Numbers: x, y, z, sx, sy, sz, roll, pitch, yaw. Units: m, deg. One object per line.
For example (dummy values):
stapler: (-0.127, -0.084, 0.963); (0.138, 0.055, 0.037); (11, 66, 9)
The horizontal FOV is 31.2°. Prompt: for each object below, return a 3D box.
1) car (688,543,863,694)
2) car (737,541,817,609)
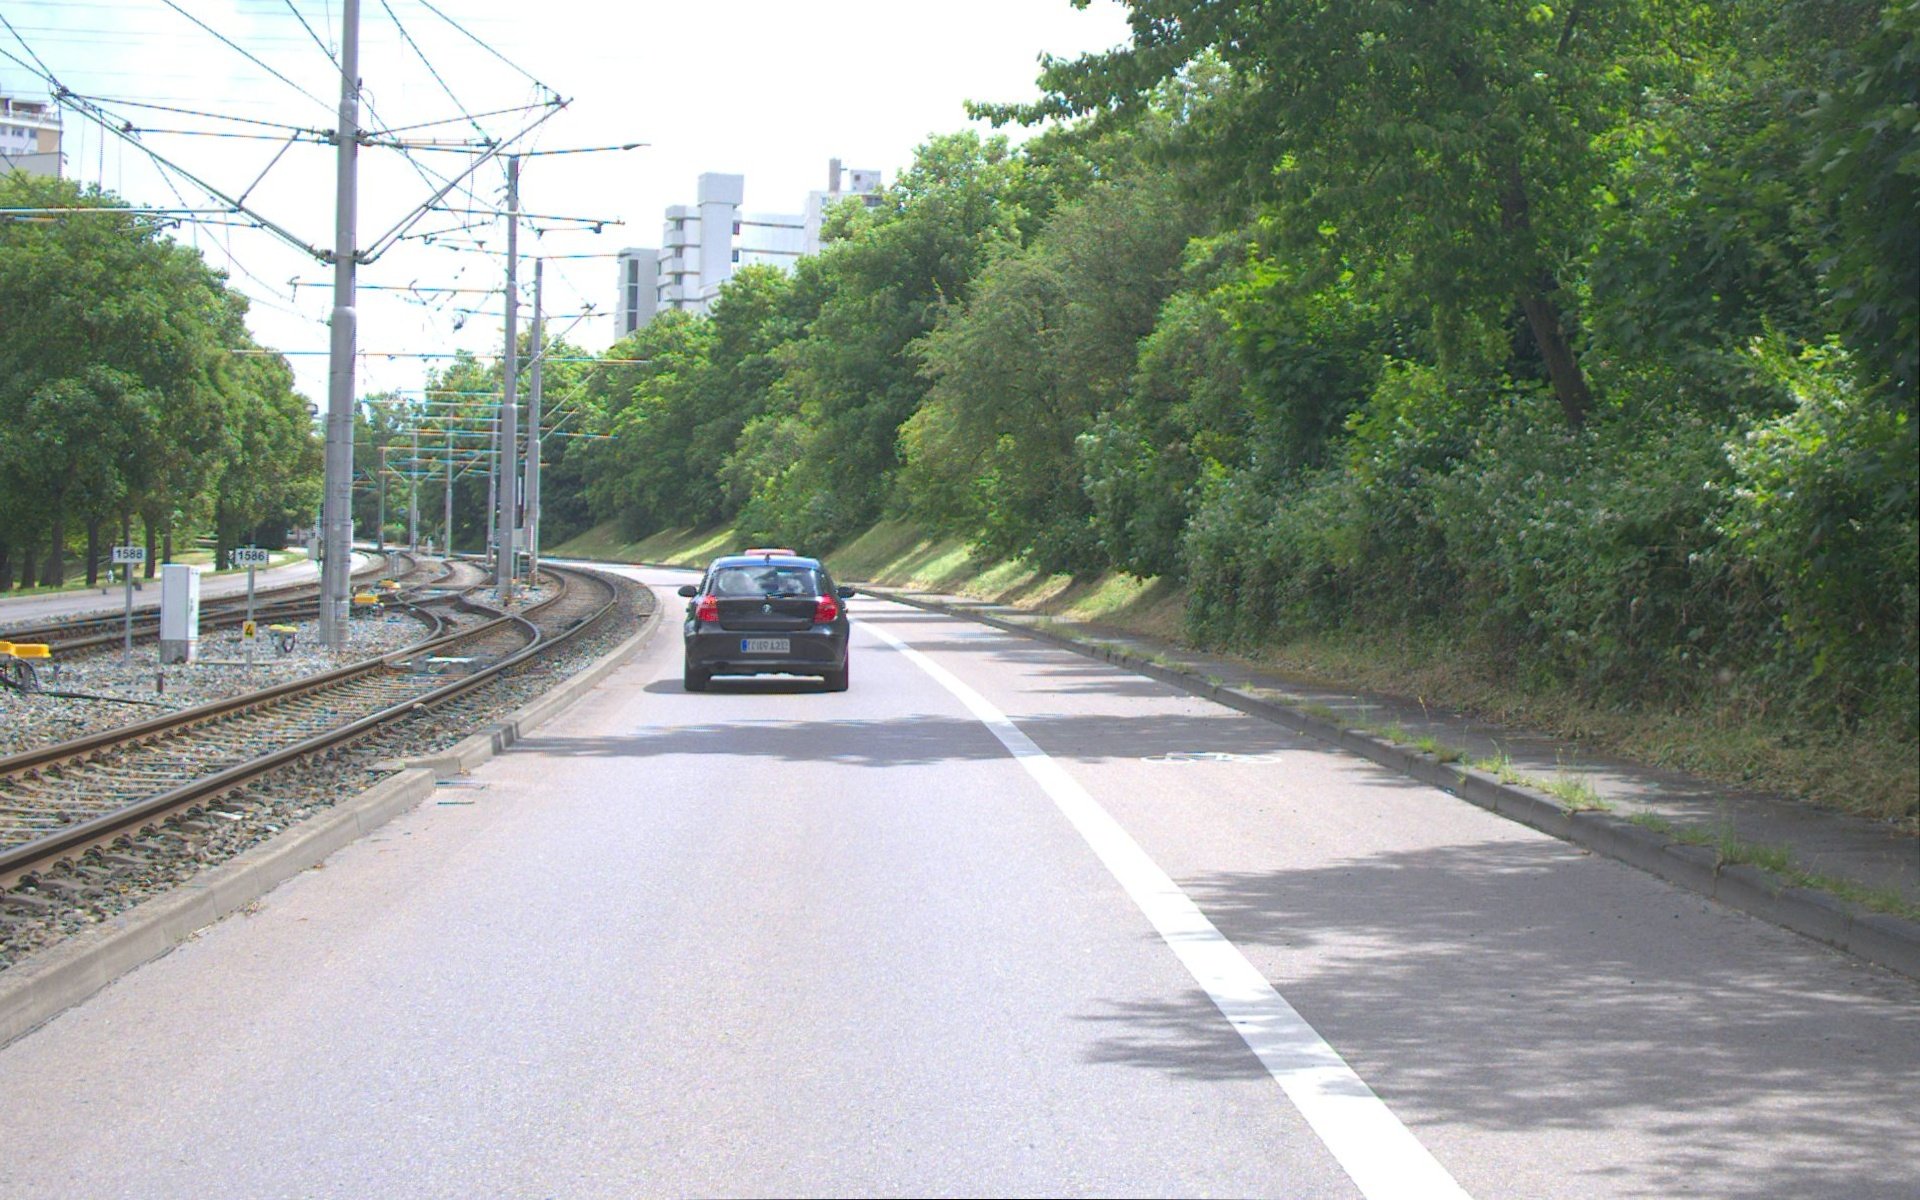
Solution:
car: (-1.944, 0.188, 36.954); (1.708, 1.455, 3.960); (3, 0, -2)
car: (-4.139, -0.552, 78.094); (1.624, 1.438, 3.421); (2, 0, -1)
